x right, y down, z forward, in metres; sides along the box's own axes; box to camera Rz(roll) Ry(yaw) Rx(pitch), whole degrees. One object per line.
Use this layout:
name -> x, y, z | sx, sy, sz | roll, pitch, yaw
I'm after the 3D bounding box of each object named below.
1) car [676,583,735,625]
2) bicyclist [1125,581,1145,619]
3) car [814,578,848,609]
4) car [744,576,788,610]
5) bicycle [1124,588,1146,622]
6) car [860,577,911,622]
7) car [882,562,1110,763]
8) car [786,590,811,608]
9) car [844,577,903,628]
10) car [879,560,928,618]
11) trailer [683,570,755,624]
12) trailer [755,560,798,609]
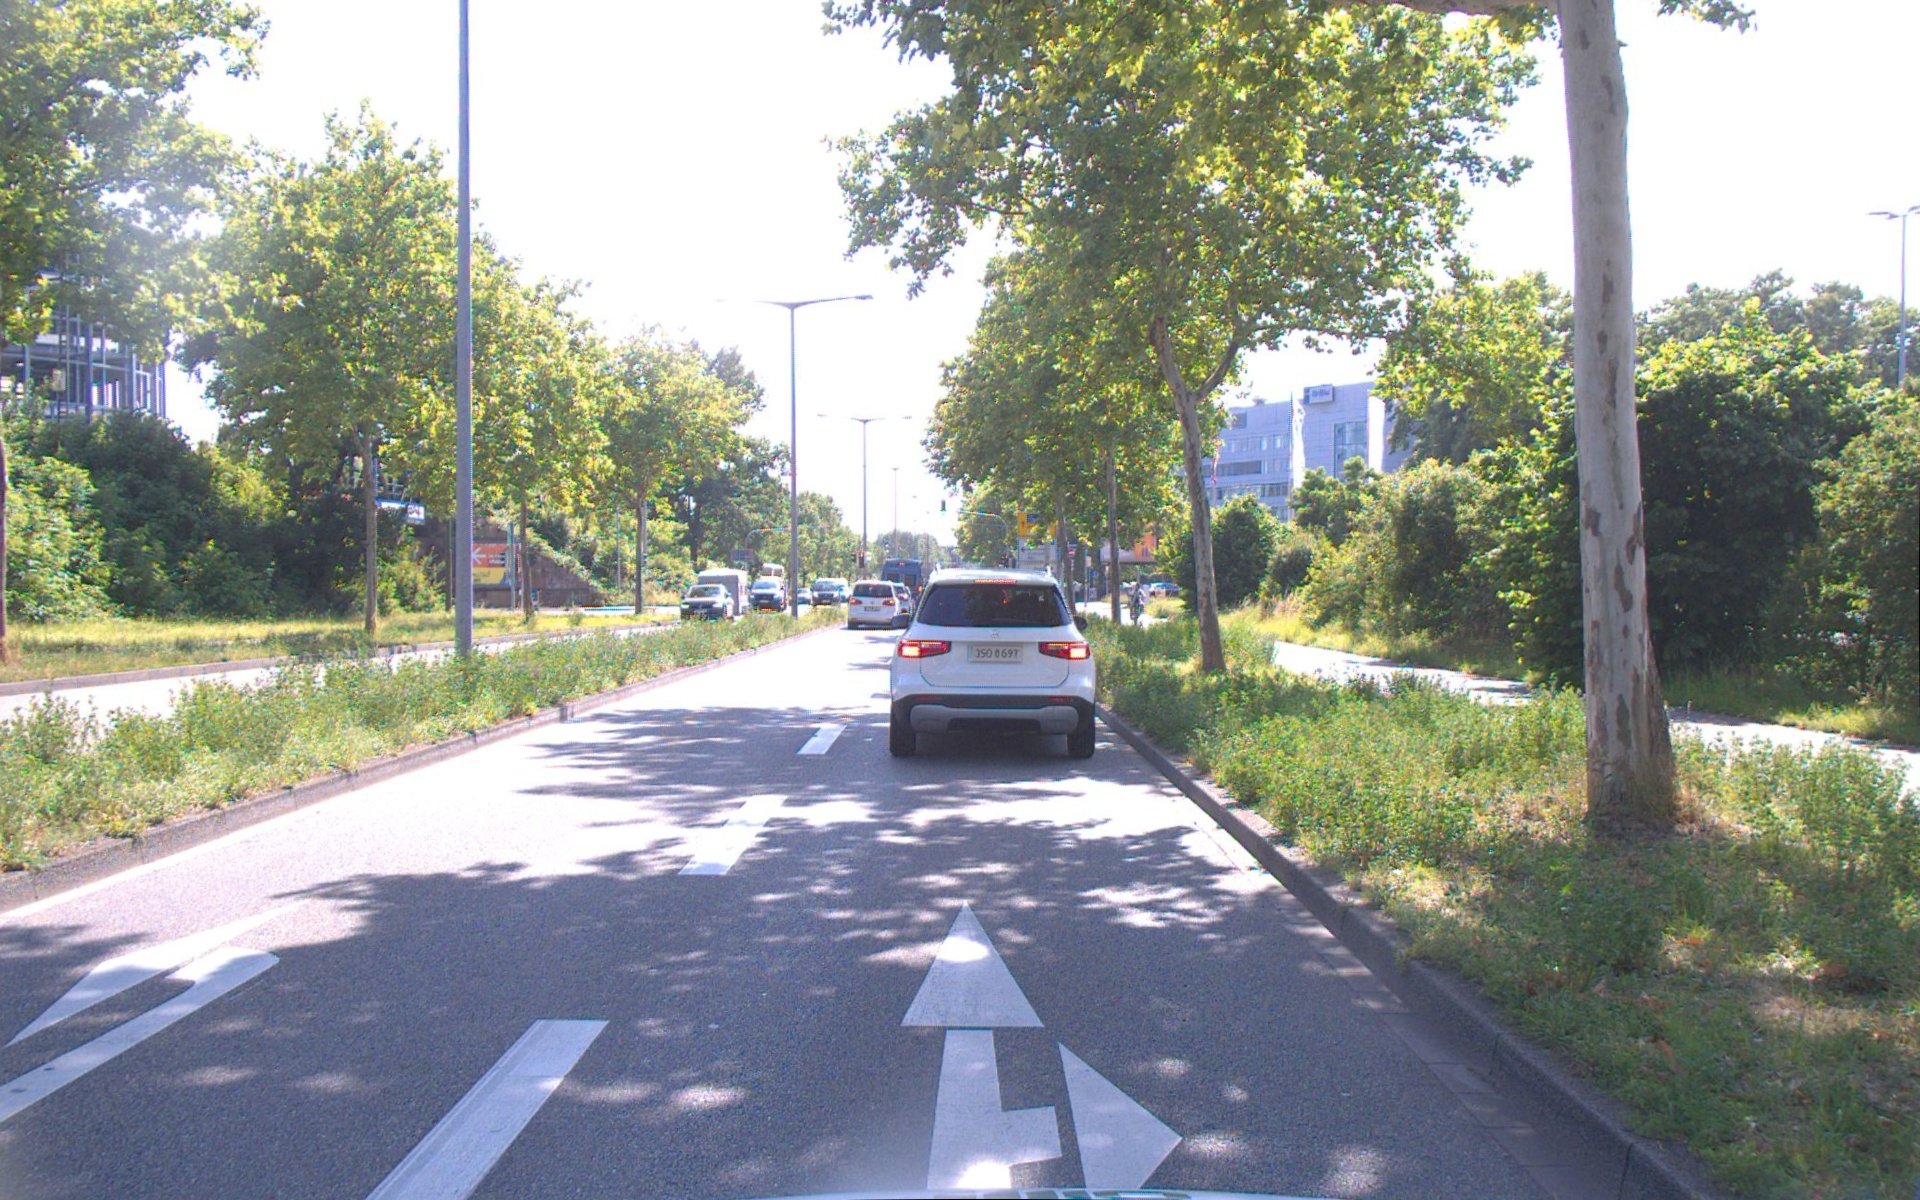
car -> -10.435, 0.157, 67.988 | 1.680, 1.650, 4.361 | 0, 0, 1
bicyclist -> 7.065, 0.002, 66.665 | 0.689, 1.503, 1.010 | 1, 0, 1
car -> -8.061, -0.430, 103.543 | 1.695, 1.841, 4.232 | 2, 0, 1
car -> -10.831, -0.386, 92.601 | 1.728, 1.821, 5.376 | 2, 0, 1
bicycle -> 7.045, 0.185, 66.670 | 0.708, 1.321, 2.096 | 1, 0, 1
car -> -2.836, -0.020, 63.606 | 1.735, 1.676, 4.085 | 1, 0, 1
car -> 0.209, 0.502, 15.585 | 1.817, 1.635, 3.997 | 1, 0, -3
car -> -12.953, -0.107, 132.991 | 1.666, 1.388, 3.645 | 1, 1, -1
car -> -2.973, 0.072, 57.597 | 1.735, 1.676, 4.352 | 1, 0, 1
car -> -2.688, -0.526, 79.681 | 2.038, 2.703, 4.874 | 1, 0, 1
trailer -> -10.577, -0.144, 72.959 | 2.261, 2.305, 5.538 | 0, 0, 1
trailer -> -10.757, -0.888, 97.087 | 1.841, 2.791, 4.829 | 2, 0, 1
